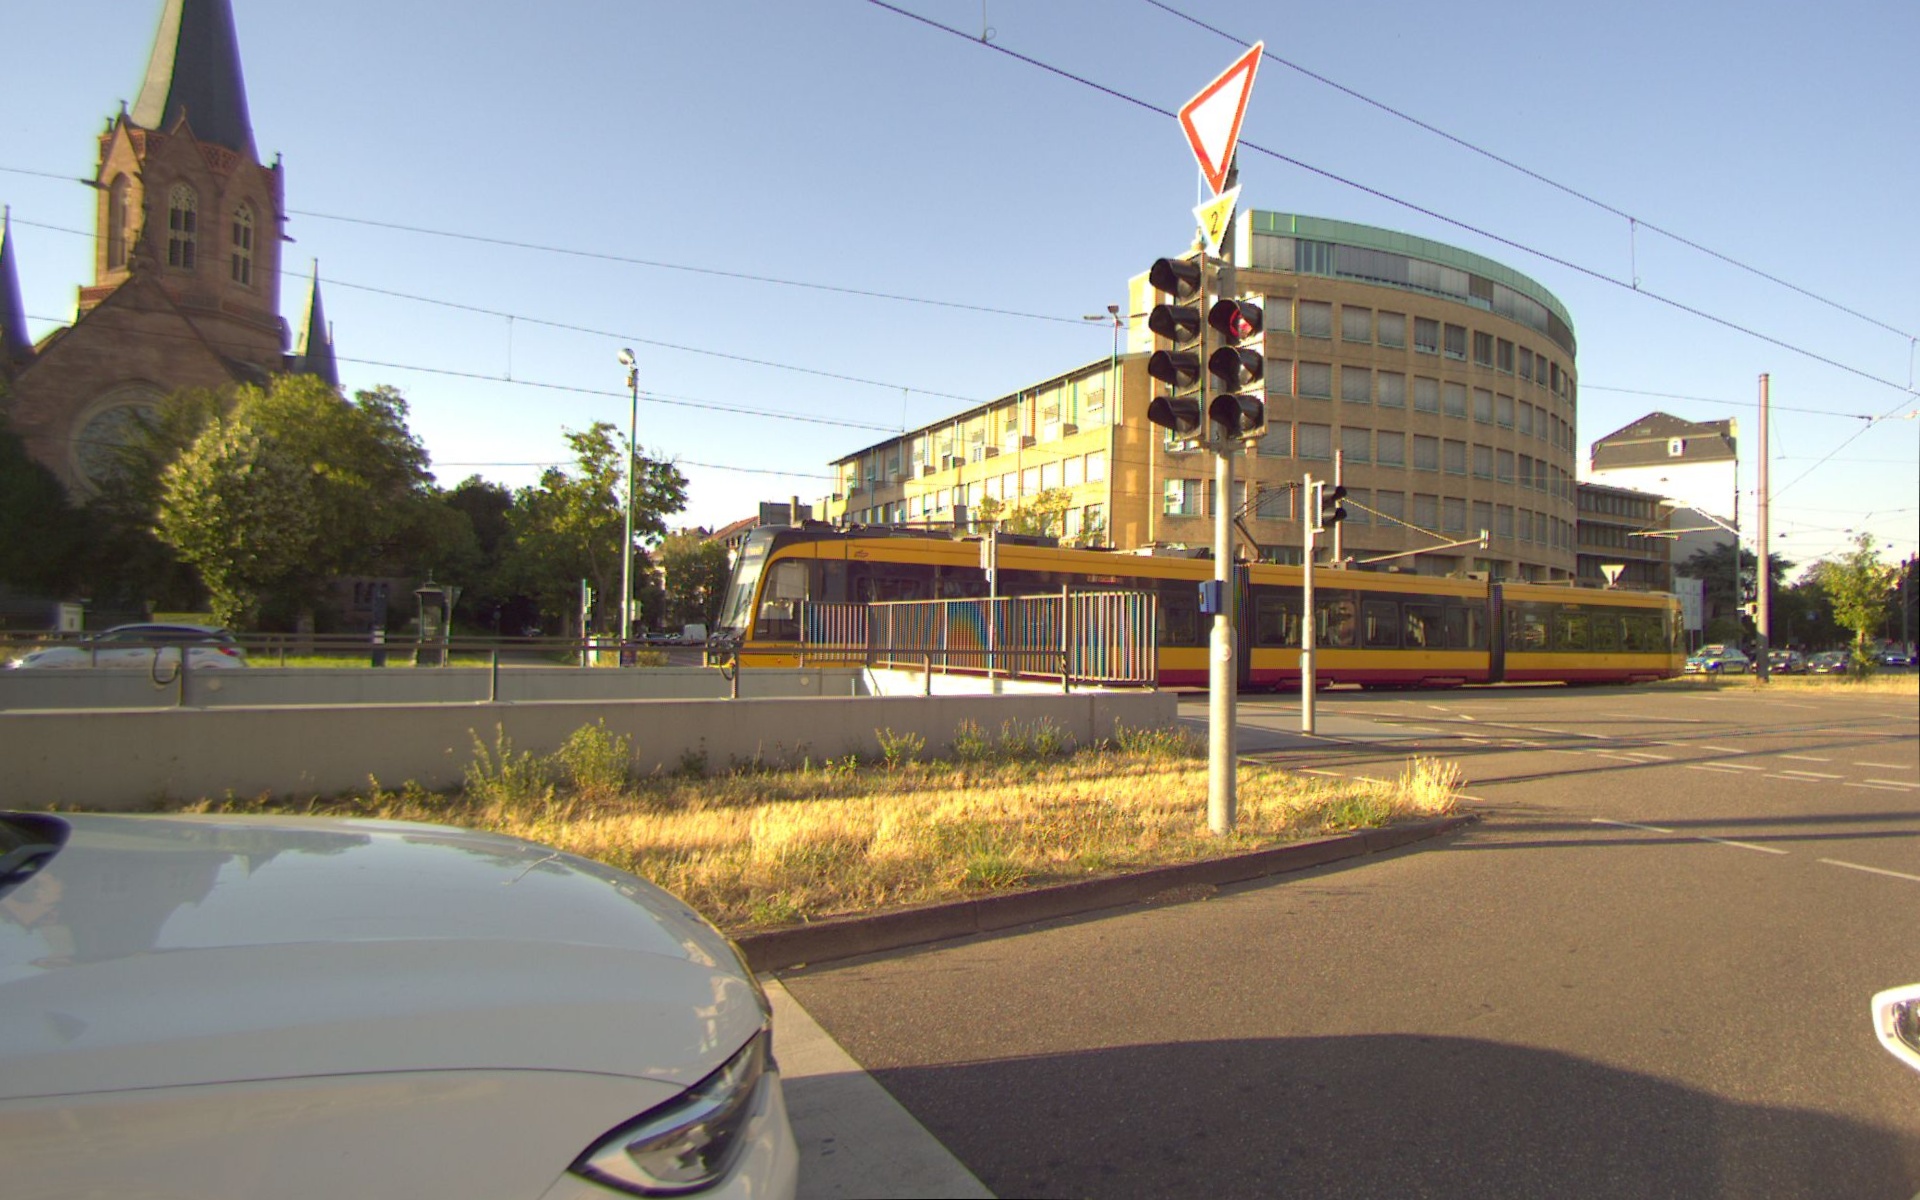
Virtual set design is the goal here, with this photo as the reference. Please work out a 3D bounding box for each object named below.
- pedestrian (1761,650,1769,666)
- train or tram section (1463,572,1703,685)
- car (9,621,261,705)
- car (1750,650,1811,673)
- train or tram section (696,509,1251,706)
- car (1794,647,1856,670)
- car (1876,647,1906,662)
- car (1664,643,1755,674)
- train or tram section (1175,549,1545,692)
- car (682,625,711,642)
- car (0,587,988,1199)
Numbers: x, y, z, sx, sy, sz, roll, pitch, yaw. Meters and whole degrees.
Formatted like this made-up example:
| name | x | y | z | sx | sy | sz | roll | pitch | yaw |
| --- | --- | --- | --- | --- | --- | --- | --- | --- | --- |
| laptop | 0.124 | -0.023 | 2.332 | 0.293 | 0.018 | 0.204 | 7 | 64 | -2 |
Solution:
| name | x | y | z | sx | sy | sz | roll | pitch | yaw |
| --- | --- | --- | --- | --- | --- | --- | --- | --- | --- |
| pedestrian | 72.190 | 5.209 | 90.060 | 0.479 | 1.449 | 0.411 | 1 | -2 | -30 |
| train or tram section | 22.267 | 1.068 | 35.623 | 10.449 | 3.582 | 2.759 | 2 | -2 | -31 |
| car | -16.451 | 1.245 | 20.283 | 3.629 | 1.560 | 1.703 | 2 | -2 | -30 |
| car | 45.360 | 3.393 | 55.518 | 3.558 | 1.169 | 1.512 | 2 | -2 | -32 |
| train or tram section | 0.922 | 0.344 | 22.808 | 13.099 | 3.582 | 2.759 | 2 | -2 | -31 |
| car | 51.221 | 3.471 | 59.485 | 3.695 | 1.298 | 1.638 | 2 | -2 | -30 |
| car | 96.341 | 5.653 | 103.955 | 1.747 | 1.502 | 4.294 | 0 | -2 | 36 |
| car | 38.478 | 2.987 | 51.554 | 4.721 | 1.500 | 1.882 | 2 | -2 | -28 |
| train or tram section | 12.189 | 0.724 | 29.572 | 13.099 | 3.582 | 2.759 | 2 | -2 | -31 |
| car | -31.961 | 4.022 | 121.723 | 2.207 | 2.040 | 4.565 | 2 | -2 | -30 |
| car | -2.382 | 0.684 | 1.228 | 4.530 | 1.419 | 1.829 | 2 | 1 | -30 |
